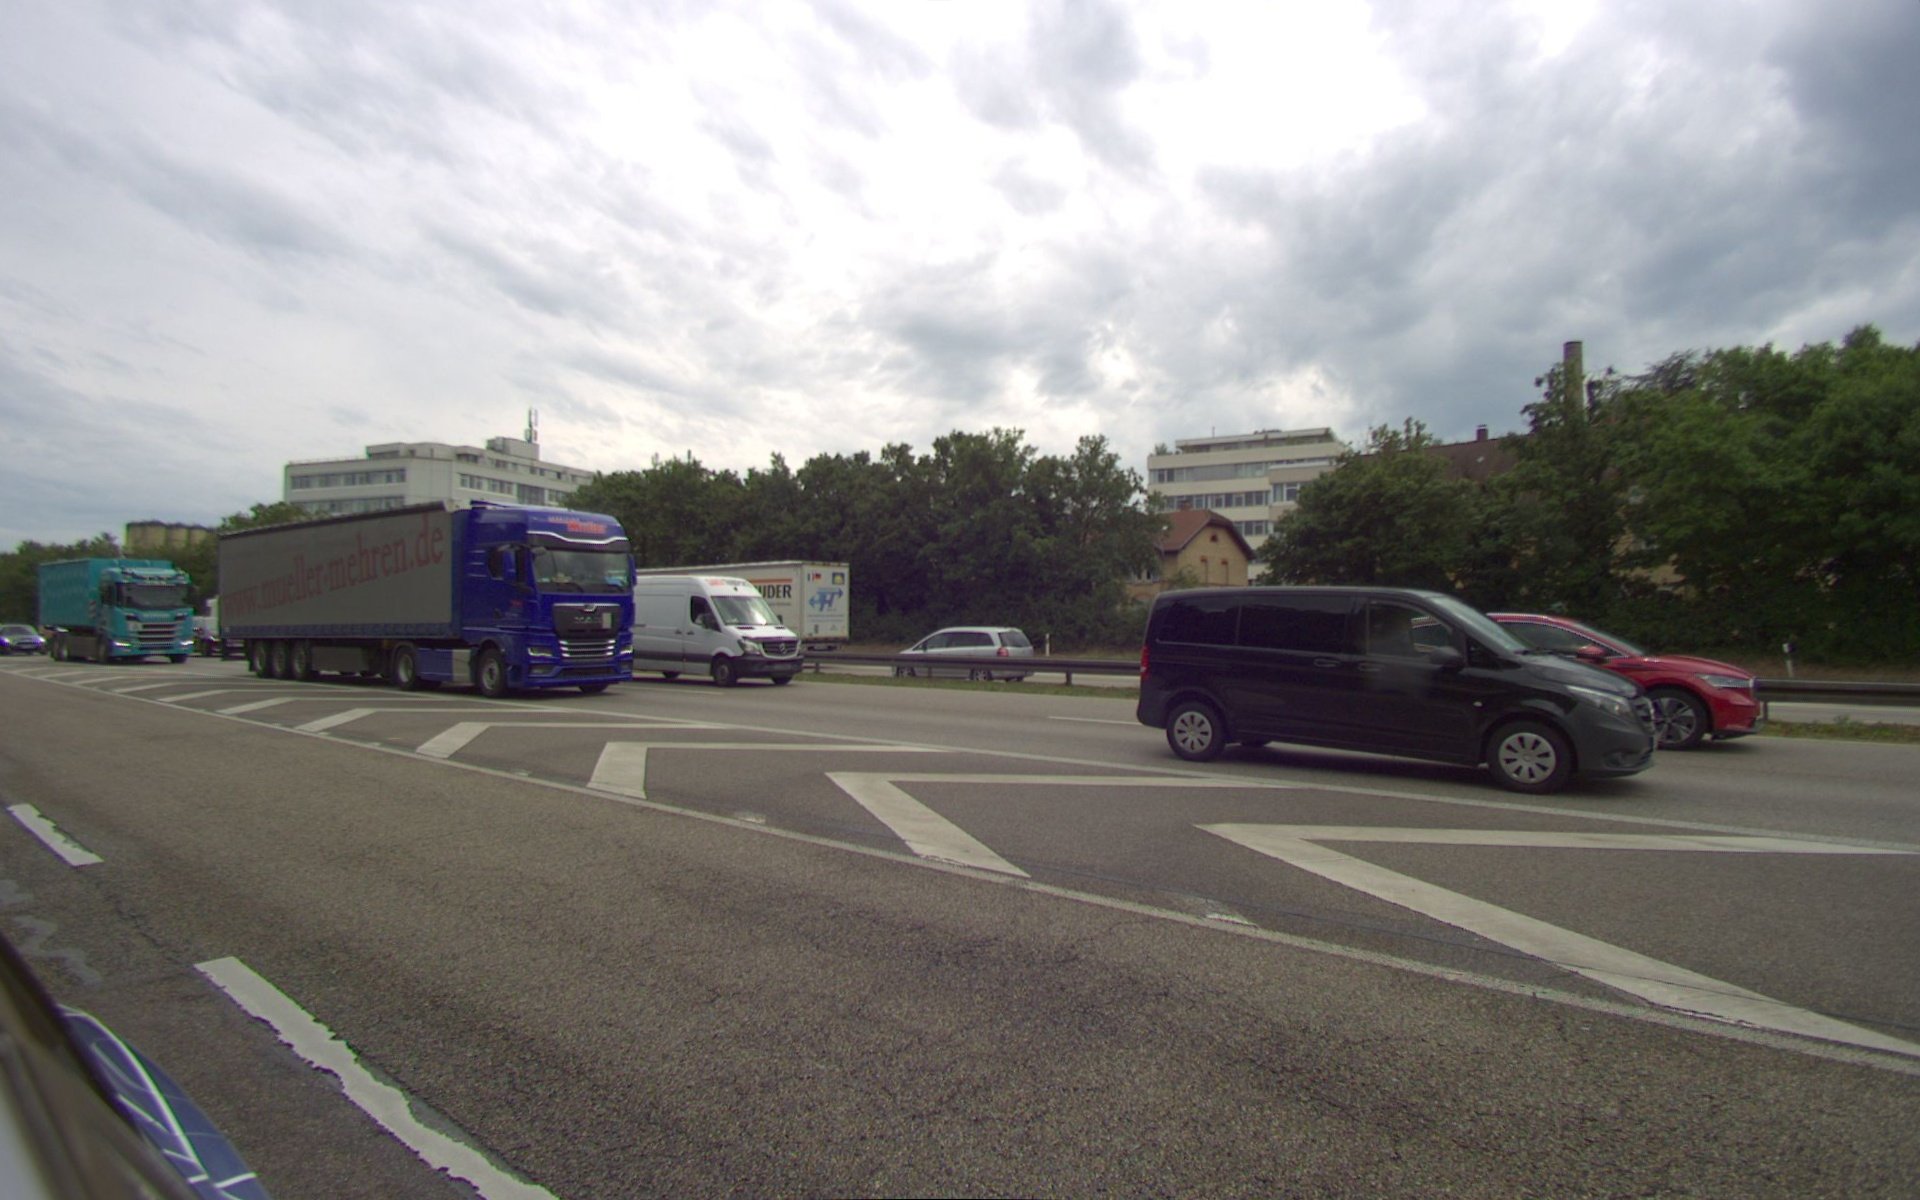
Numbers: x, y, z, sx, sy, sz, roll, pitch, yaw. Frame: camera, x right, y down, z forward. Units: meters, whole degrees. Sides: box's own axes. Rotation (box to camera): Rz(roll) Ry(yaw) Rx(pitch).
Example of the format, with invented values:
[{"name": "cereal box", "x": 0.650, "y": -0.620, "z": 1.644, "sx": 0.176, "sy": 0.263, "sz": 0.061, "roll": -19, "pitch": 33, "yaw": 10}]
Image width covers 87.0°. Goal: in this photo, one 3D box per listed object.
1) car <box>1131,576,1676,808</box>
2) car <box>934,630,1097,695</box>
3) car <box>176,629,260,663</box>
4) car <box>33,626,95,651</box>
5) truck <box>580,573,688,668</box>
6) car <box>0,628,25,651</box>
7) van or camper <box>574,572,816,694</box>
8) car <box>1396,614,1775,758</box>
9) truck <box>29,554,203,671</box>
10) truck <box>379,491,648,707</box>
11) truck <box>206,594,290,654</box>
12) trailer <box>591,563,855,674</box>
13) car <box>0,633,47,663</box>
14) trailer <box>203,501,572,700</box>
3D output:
[{"name": "car", "x": 4.369, "y": 0.802, "z": 10.441, "sx": 4.806, "sy": 1.865, "sz": 1.974, "roll": -1, "pitch": -2, "yaw": 39}, {"name": "car", "x": 1.455, "y": 1.626, "z": 27.314, "sx": 4.166, "sy": 1.634, "sz": 1.768, "roll": -1, "pitch": -3, "yaw": 38}, {"name": "car", "x": -32.586, "y": 1.986, "z": 44.428, "sx": 3.993, "sy": 1.444, "sz": 1.875, "roll": -1, "pitch": -3, "yaw": 37}, {"name": "car", "x": -51.964, "y": 2.222, "z": 58.697, "sx": 4.048, "sy": 1.444, "sz": 1.875, "roll": -1, "pitch": -3, "yaw": 37}, {"name": "truck", "x": -14.928, "y": 0.963, "z": 46.351, "sx": 3.995, "sy": 4.122, "sz": 2.921, "roll": -1, "pitch": -3, "yaw": 38}, {"name": "car", "x": -63.676, "y": 2.588, "z": 66.990, "sx": 3.243, "sy": 1.494, "sz": 1.976, "roll": -1, "pitch": -2, "yaw": 36}, {"name": "van or camper", "x": -6.676, "y": 0.810, "z": 24.879, "sx": 6.948, "sy": 2.641, "sz": 2.029, "roll": -1, "pitch": -3, "yaw": 39}, {"name": "car", "x": 7.984, "y": 1.007, "z": 13.124, "sx": 3.943, "sy": 1.579, "sz": 1.748, "roll": -1, "pitch": -3, "yaw": 42}, {"name": "truck", "x": -32.716, "y": 0.538, "z": 39.045, "sx": 10.104, "sy": 4.031, "sz": 2.669, "roll": -1, "pitch": -2, "yaw": 36}, {"name": "truck", "x": -9.601, "y": 0.063, "z": 21.571, "sx": 5.916, "sy": 3.991, "sz": 2.644, "roll": -1, "pitch": -2, "yaw": 36}, {"name": "truck", "x": -48.801, "y": 1.648, "z": 69.260, "sx": 8.101, "sy": 3.914, "sz": 2.326, "roll": -1, "pitch": -3, "yaw": 38}, {"name": "trailer", "x": -10.416, "y": 0.856, "z": 42.825, "sx": 13.809, "sy": 4.122, "sz": 2.921, "roll": -1, "pitch": -3, "yaw": 38}, {"name": "car", "x": -44.201, "y": 2.208, "z": 47.037, "sx": 3.990, "sy": 1.332, "sz": 1.737, "roll": -1, "pitch": -2, "yaw": 35}, {"name": "trailer", "x": -15.001, "y": 0.162, "z": 25.541, "sx": 13.893, "sy": 4.005, "sz": 2.649, "roll": -1, "pitch": -2, "yaw": 37}]
